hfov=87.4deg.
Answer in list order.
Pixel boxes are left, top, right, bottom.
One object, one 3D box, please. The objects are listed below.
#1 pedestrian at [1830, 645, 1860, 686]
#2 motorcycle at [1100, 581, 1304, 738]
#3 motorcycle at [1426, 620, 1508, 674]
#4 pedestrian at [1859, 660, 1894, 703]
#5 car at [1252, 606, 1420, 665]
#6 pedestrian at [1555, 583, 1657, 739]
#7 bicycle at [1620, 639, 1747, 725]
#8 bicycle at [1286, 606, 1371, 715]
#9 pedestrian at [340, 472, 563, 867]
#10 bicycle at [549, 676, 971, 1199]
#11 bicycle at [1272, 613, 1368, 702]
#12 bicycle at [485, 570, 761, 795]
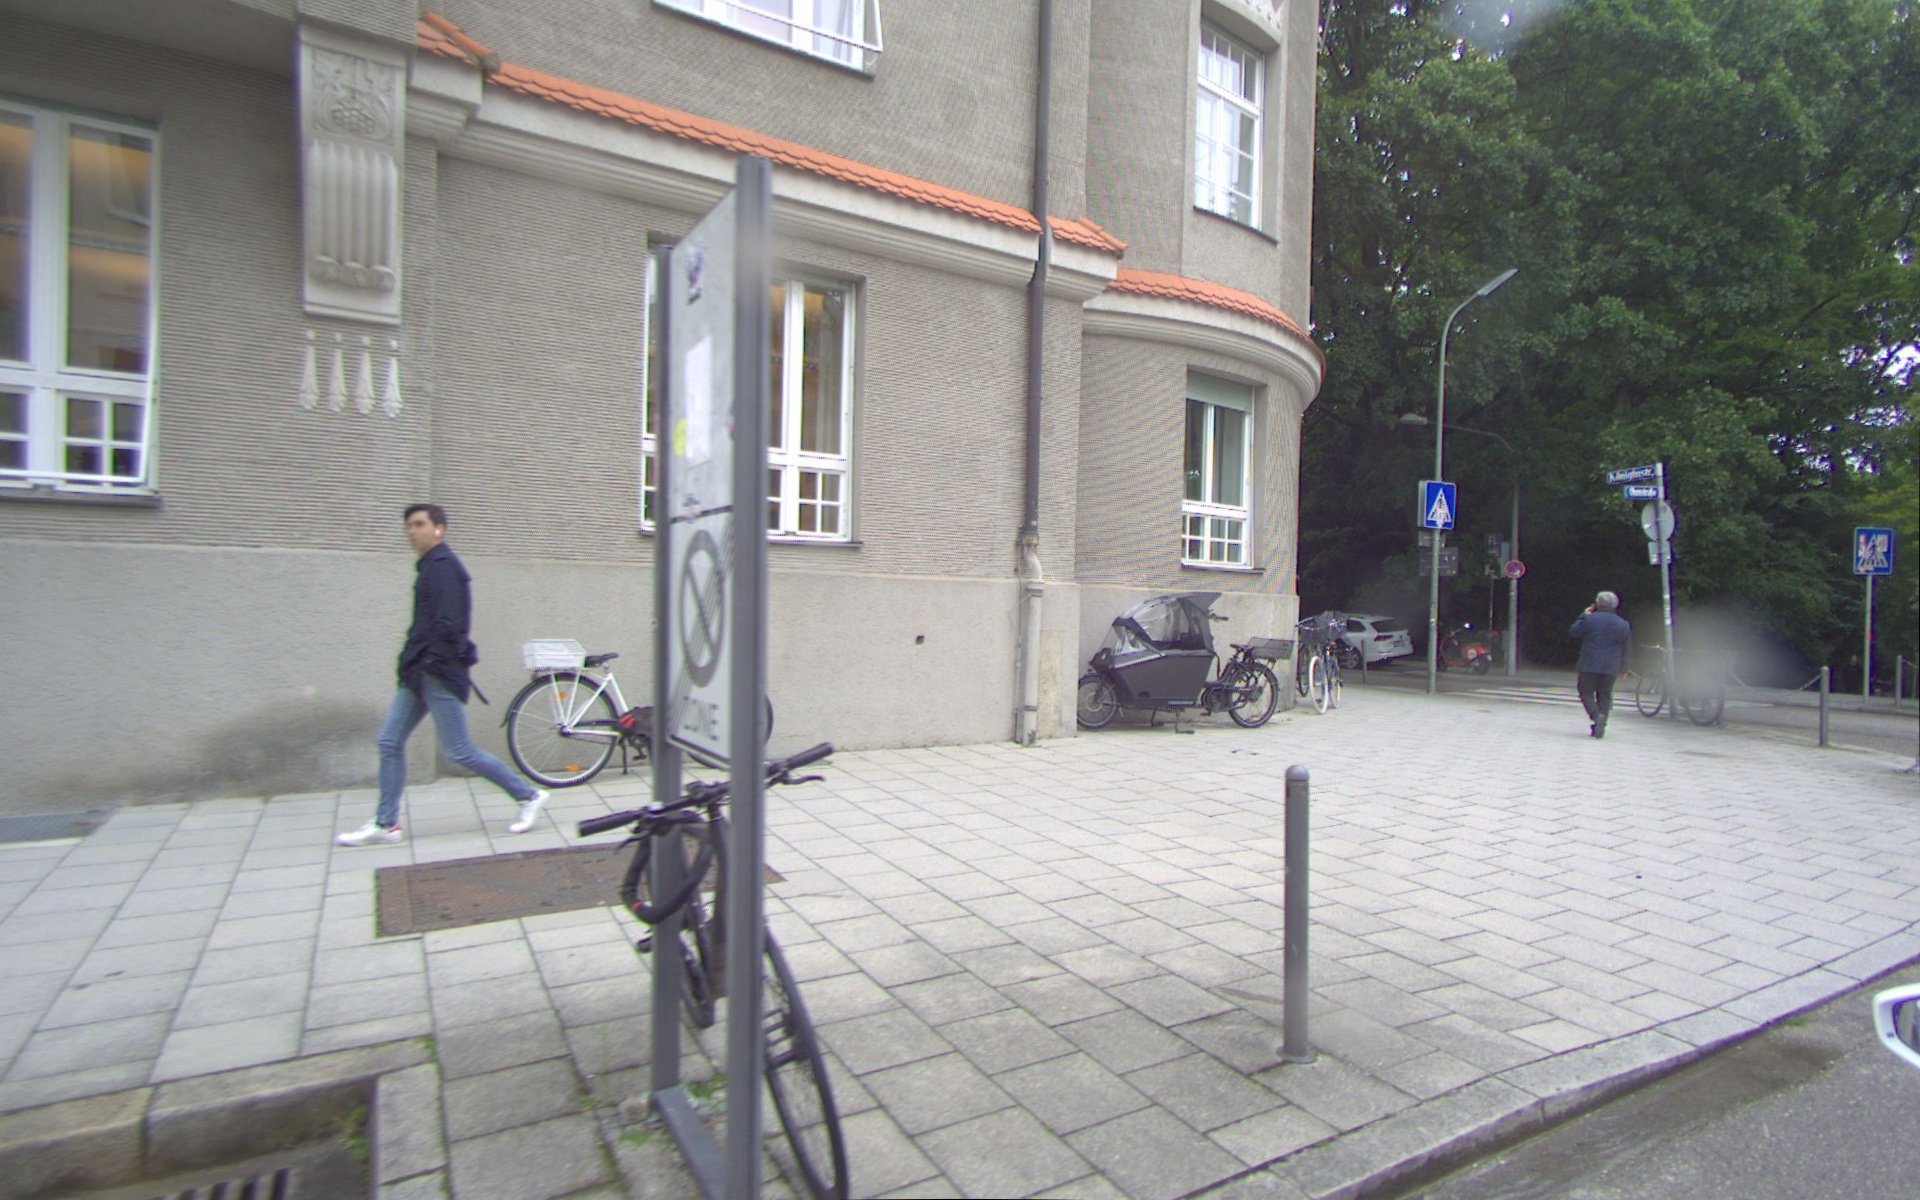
[{"bbox_3d":[26.102,1.927,29.627,0.490,1.171,0.469,1,1,-25],"label":"pedestrian"},{"bbox_3d":[2.495,0.575,10.262,2.123,1.460,0.732,1,1,-33],"label":"motorcycle"},{"bbox_3d":[12.558,1.147,24.958,0.843,1.199,2.004,-2,1,-6],"label":"motorcycle"},{"bbox_3d":[26.557,2.363,29.098,0.490,1.184,0.583,1,1,-25],"label":"pedestrian"},{"bbox_3d":[10.747,0.977,29.002,1.609,1.468,4.391,1,0,-35],"label":"car"},{"bbox_3d":[7.230,0.657,11.282,0.797,1.664,0.726,2,1,23],"label":"pedestrian"},{"bbox_3d":[10.159,1.117,14.201,0.501,1.023,2.009,2,1,6],"label":"bicycle"},{"bbox_3d":[4.786,0.728,12.984,0.725,1.273,1.923,2,1,28],"label":"bicycle"},{"bbox_3d":[-2.605,0.321,5.185,0.924,1.811,0.835,1,1,-28],"label":"pedestrian"},{"bbox_3d":[-0.682,0.817,2.754,0.534,1.028,1.792,1,2,-31],"label":"bicycle"},{"bbox_3d":[5.341,0.820,15.042,0.554,1.172,1.925,5,0,-4],"label":"bicycle"},{"bbox_3d":[-2.262,0.513,6.830,1.659,1.367,0.614,1,1,-35],"label":"bicycle"}]
